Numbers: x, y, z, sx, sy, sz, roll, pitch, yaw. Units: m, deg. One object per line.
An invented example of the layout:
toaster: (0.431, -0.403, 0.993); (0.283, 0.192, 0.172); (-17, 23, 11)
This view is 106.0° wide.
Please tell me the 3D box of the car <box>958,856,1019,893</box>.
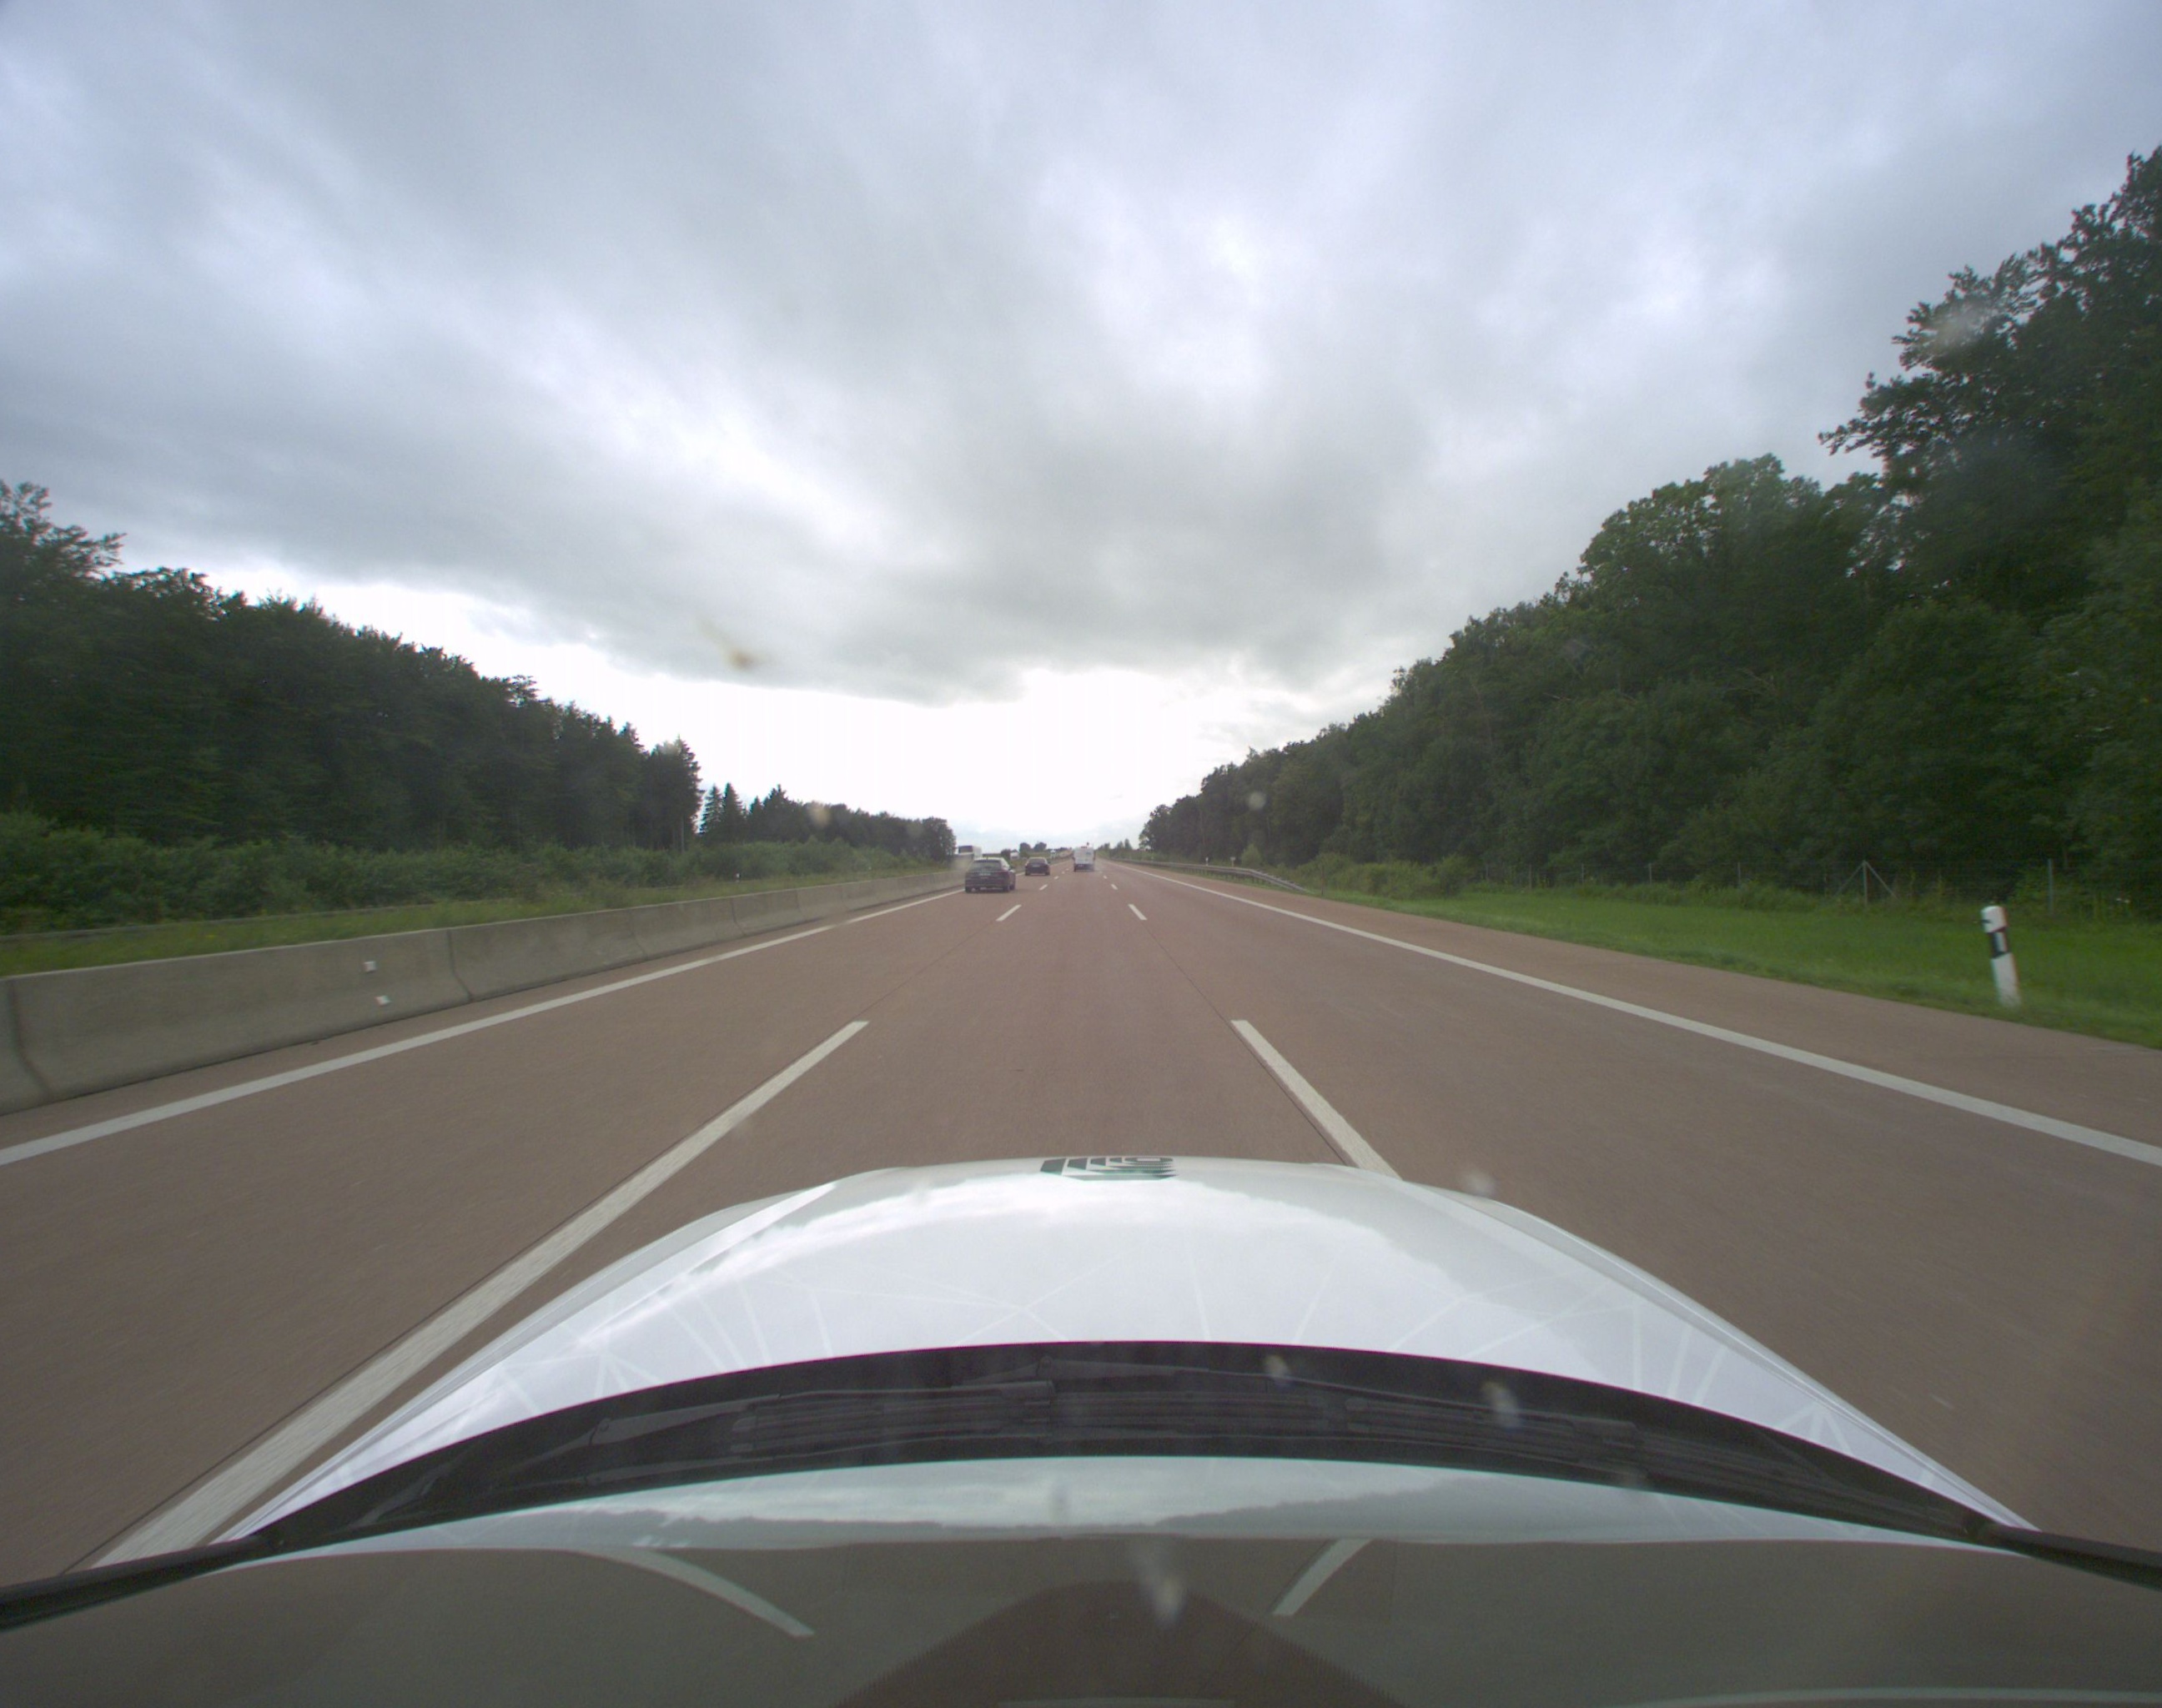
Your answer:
car: (-4.027, 0.862, 36.300); (2.052, 1.491, 5.452); (0, 0, 0)

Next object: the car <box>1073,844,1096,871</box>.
car: (0.358, 0.289, 81.684); (2.130, 2.507, 7.132); (-1, 0, 1)

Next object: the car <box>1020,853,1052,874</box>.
car: (-3.575, 0.735, 66.045); (2.077, 1.550, 5.677); (0, 0, 2)

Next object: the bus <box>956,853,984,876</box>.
bus: (-19.162, 1.736, 141.840); (3.039, 3.888, 14.357); (0, 0, 0)
